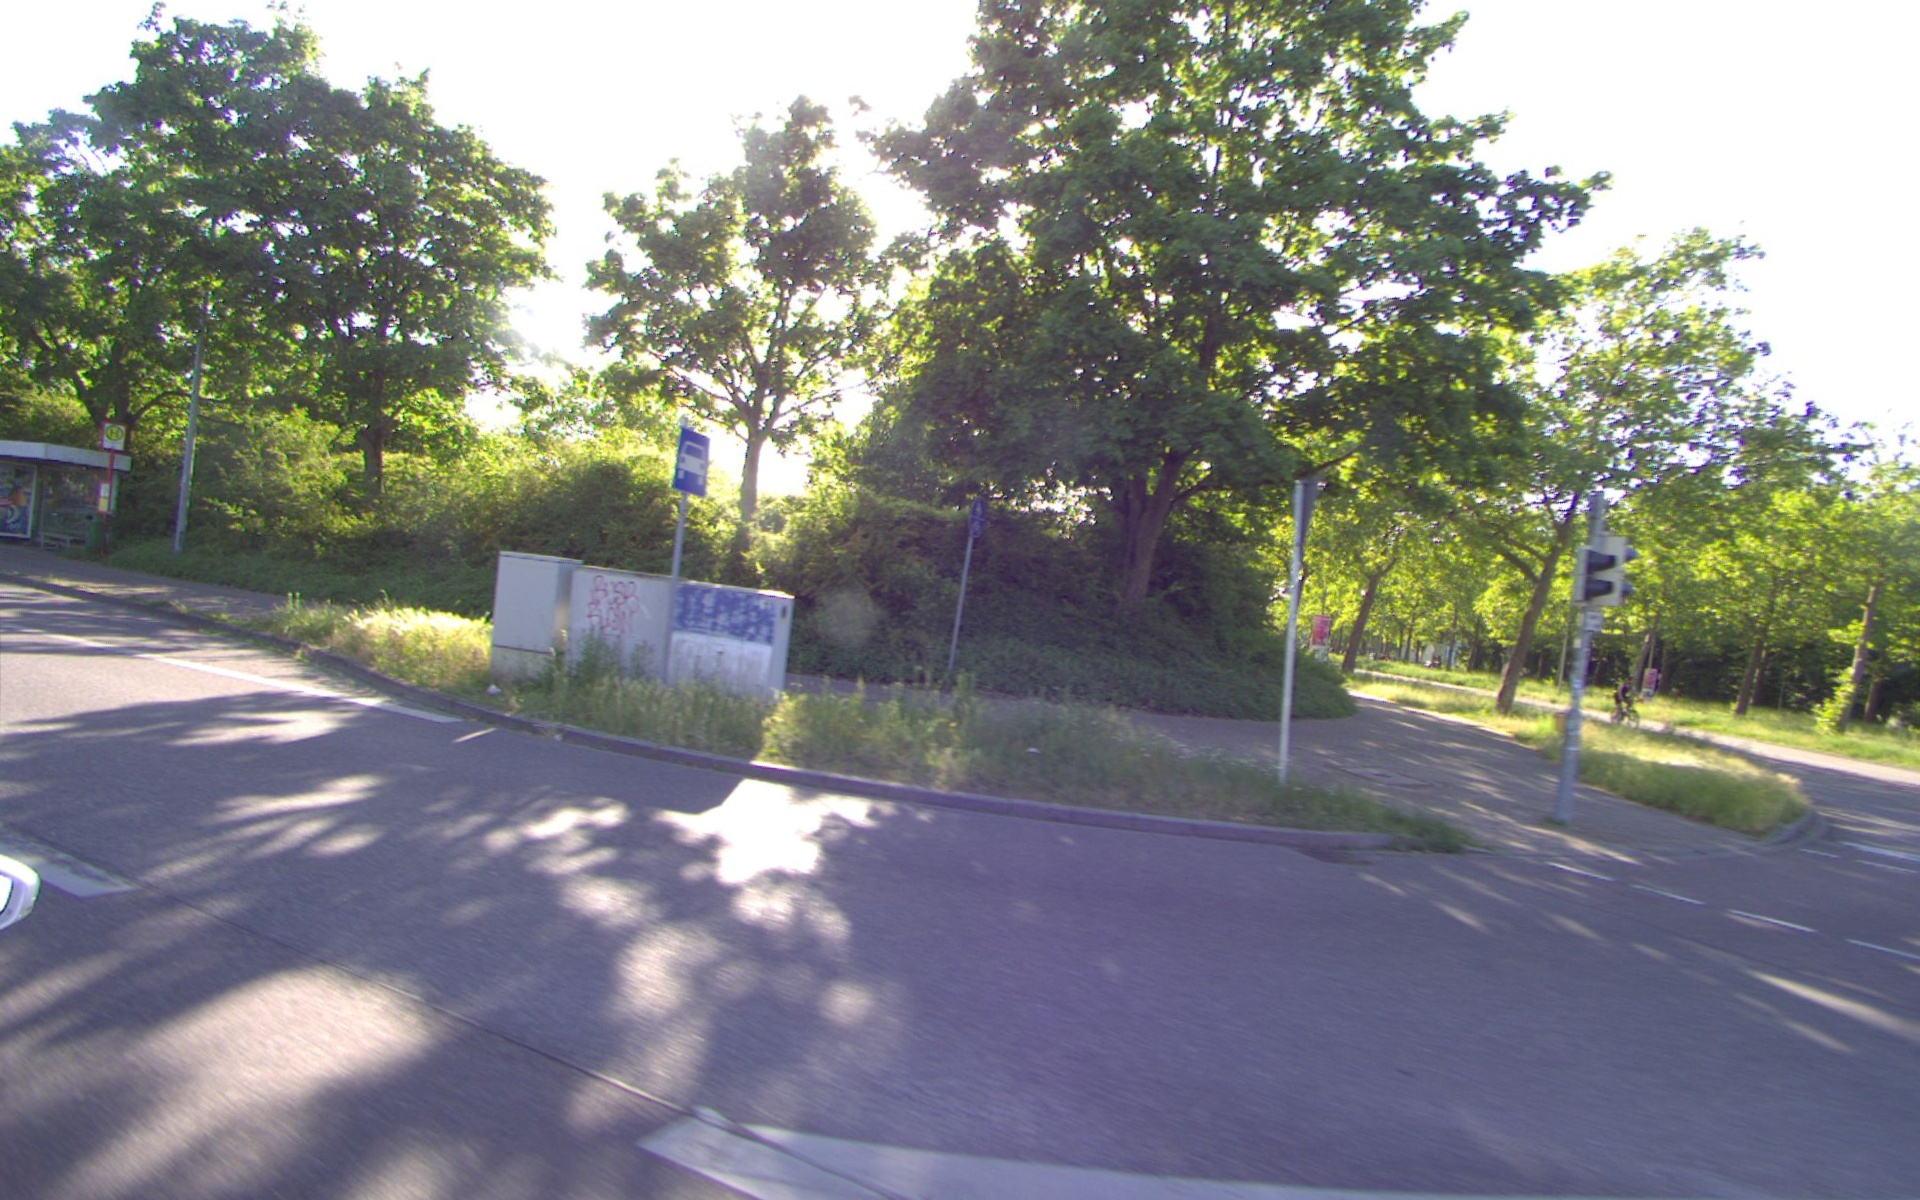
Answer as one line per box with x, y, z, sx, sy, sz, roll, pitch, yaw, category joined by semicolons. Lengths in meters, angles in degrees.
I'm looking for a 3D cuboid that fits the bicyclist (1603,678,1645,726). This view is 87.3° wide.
22.358;3.428;33.898;0.723;1.454;0.966;7;1;12;bicyclist

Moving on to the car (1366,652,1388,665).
63.899;8.929;154.124;1.843;1.646;4.003;9;-1;7;car

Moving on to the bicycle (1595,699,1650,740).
22.286;4.000;33.887;0.723;1.105;2.016;7;0;12;bicycle
